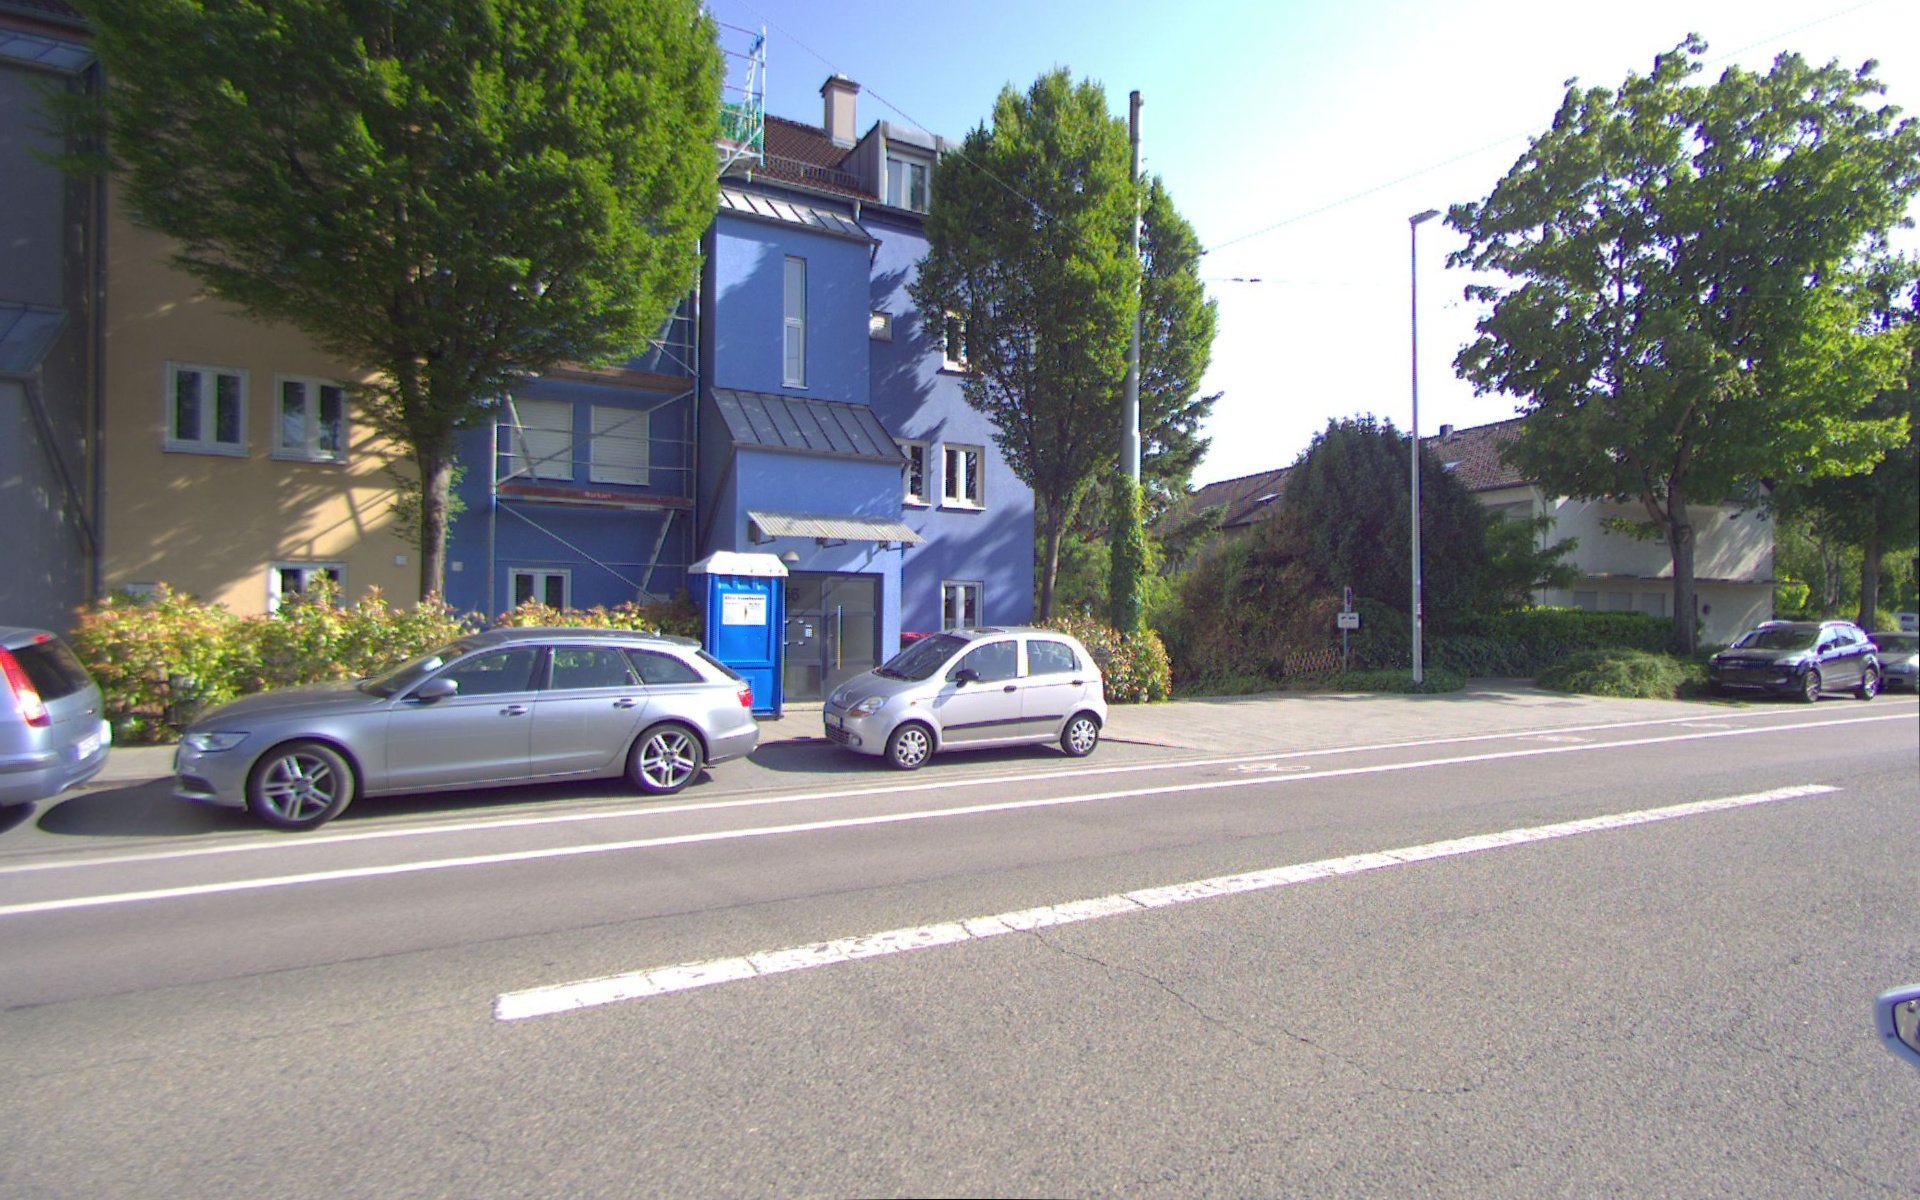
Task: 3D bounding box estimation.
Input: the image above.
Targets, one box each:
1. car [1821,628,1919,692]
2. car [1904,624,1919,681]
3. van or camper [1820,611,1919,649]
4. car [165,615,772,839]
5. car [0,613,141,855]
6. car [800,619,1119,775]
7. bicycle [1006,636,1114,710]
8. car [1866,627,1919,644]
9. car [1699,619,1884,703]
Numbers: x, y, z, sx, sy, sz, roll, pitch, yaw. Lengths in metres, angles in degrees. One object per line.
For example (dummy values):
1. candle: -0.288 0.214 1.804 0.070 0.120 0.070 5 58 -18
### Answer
1. car: 23.509 1.467 25.288 3.923 1.488 1.668 1 -1 -31
2. car: 28.198 1.483 28.081 3.849 1.571 1.593 1 0 -30
3. van or camper: 73.341 2.348 80.414 2.278 2.906 6.440 1 -1 -27
4. car: -4.312 0.992 9.397 4.702 1.531 1.739 1 3 -32
5. car: -8.480 0.927 7.063 3.932 1.560 1.755 1 3 -29
6. car: 0.016 1.068 12.092 3.467 1.515 1.593 1 3 -30
7. bicycle: 1.662 1.199 16.584 1.759 1.169 0.442 2 -1 -23
8. car: 76.248 2.872 81.593 1.718 1.416 3.644 1 -2 -31
9. car: 18.564 1.302 22.386 4.367 1.716 1.705 1 -1 -29
